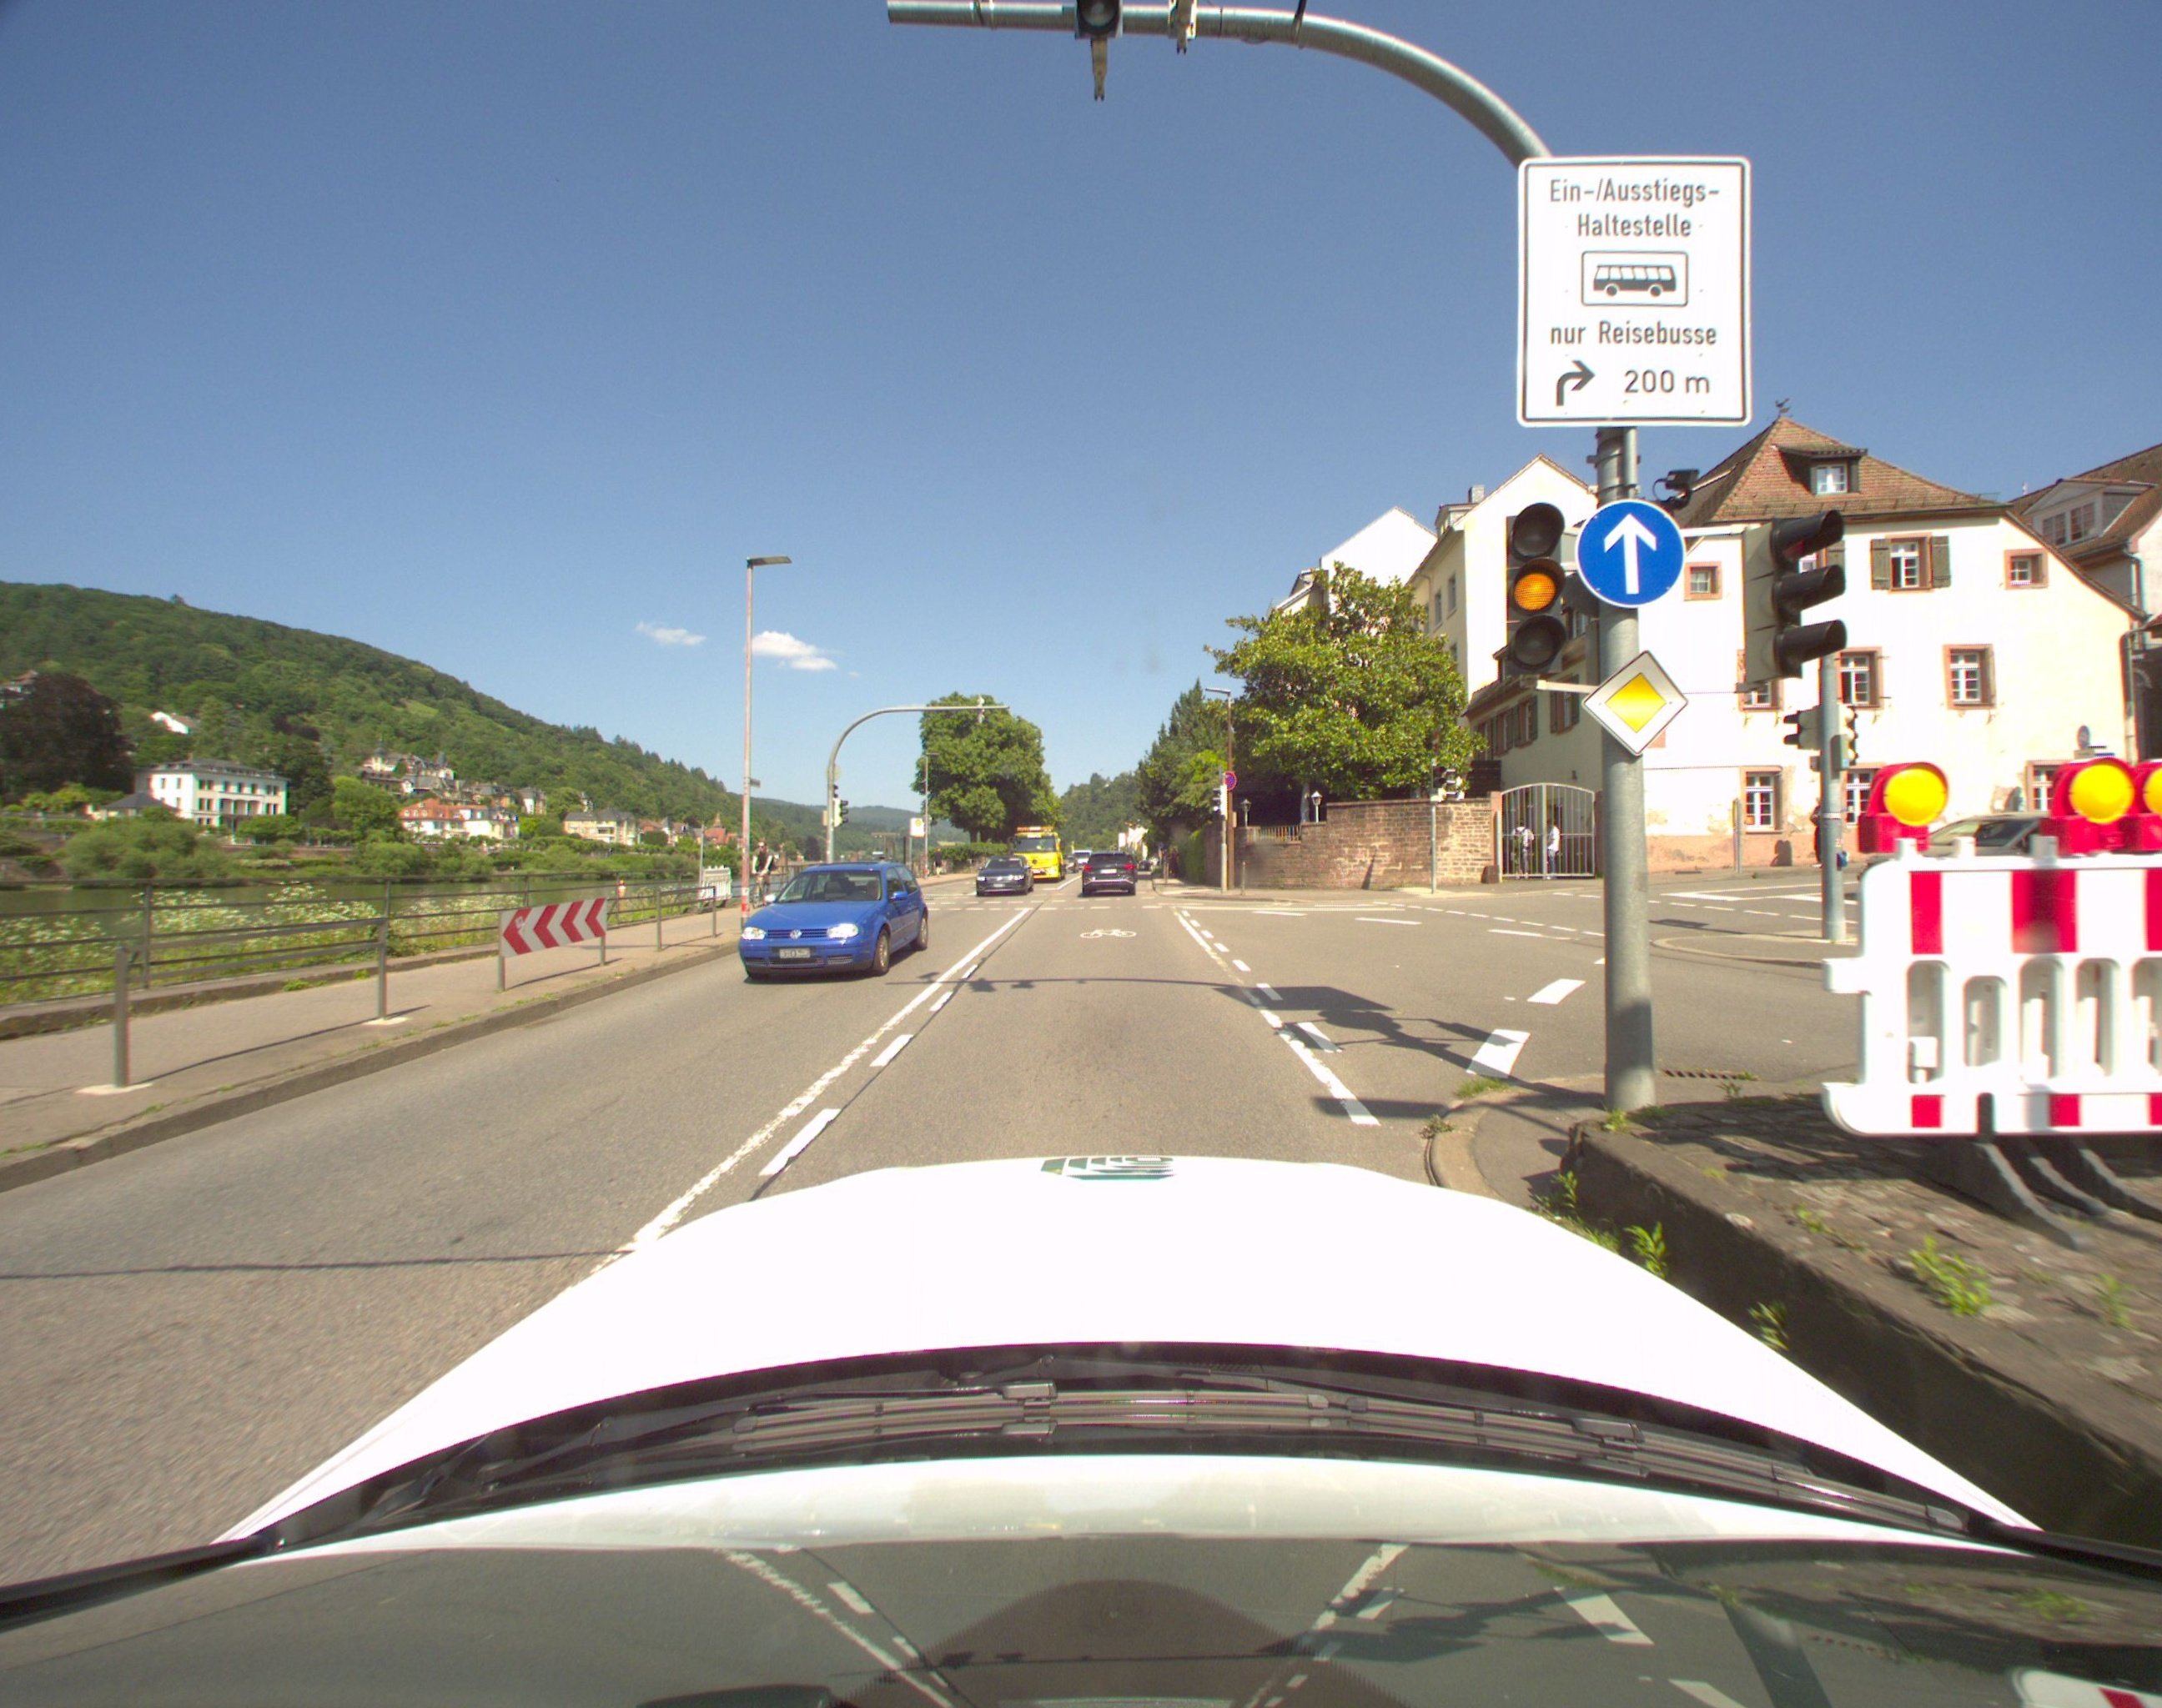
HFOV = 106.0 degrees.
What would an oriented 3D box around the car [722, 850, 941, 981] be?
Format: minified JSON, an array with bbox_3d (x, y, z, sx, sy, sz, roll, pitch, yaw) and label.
[{"bbox_3d":[-3.301,0.724,11.728,1.723,1.491,4.326,-2,0,1],"label":"car"}]

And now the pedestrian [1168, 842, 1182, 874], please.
[{"bbox_3d":[5.187,0.219,45.157,0.678,1.742,0.914,-1,1,3],"label":"pedestrian"}]

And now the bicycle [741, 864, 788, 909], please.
[{"bbox_3d":[-8.459,0.839,21.869,0.666,1.113,2.029,-1,0,-7],"label":"bicycle"}]

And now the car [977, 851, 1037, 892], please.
[{"bbox_3d":[-2.729,0.611,30.905,1.802,1.406,4.357,-1,0,1],"label":"car"}]

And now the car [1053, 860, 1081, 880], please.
[{"bbox_3d":[-1.056,1.211,64.101,1.807,1.398,4.350,-2,1,3],"label":"car"}]

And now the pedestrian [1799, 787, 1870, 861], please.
[{"bbox_3d":[18.994,-0.746,20.553,0.919,1.793,0.865,-3,0,5],"label":"pedestrian"}]

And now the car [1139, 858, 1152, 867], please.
[{"bbox_3d":[10.529,1.404,133.662,1.985,1.453,4.012,-1,-2,4],"label":"car"}]

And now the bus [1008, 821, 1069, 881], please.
[{"bbox_3d":[-2.143,-0.158,44.234,2.587,2.896,8.451,-1,0,2],"label":"bus"}]

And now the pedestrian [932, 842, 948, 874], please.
[{"bbox_3d":[-8.661,0.280,50.007,0.750,1.918,1.010,-1,-2,4],"label":"pedestrian"}]

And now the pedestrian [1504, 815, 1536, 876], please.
[{"bbox_3d":[12.606,-0.251,23.394,0.716,1.706,0.712,-2,0,25],"label":"pedestrian"}]

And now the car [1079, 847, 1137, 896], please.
[{"bbox_3d":[0.953,0.555,28.267,1.850,1.524,4.002,-2,0,2],"label":"car"}]

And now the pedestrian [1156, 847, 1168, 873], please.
[{"bbox_3d":[5.428,0.403,54.542,0.725,1.650,0.883,-3,-1,4],"label":"pedestrian"}]

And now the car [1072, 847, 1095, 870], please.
[{"bbox_3d":[0.341,0.479,86.129,2.087,2.302,5.874,-1,1,3],"label":"car"}]

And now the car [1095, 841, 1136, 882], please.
[{"bbox_3d":[1.793,0.430,42.679,1.986,2.014,4.001,-1,-2,2],"label":"car"}]

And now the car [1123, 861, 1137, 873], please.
[{"bbox_3d":[6.467,1.674,107.305,1.787,1.481,4.005,0,1,4],"label":"car"}]

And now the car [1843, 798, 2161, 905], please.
[{"bbox_3d":[16.078,-0.105,14.147,3.973,1.485,1.862,-4,3,0],"label":"car"}]

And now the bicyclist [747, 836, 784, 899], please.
[{"bbox_3d":[-8.473,0.344,21.877,0.666,1.632,0.977,-1,0,-7],"label":"bicyclist"}]

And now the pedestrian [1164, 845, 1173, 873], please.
[{"bbox_3d":[5.036,0.272,46.727,0.453,1.606,0.580,-1,0,3],"label":"pedestrian"}]

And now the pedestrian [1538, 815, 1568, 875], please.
[{"bbox_3d":[13.883,-0.256,23.965,0.699,1.706,0.730,-2,0,30],"label":"pedestrian"}]
